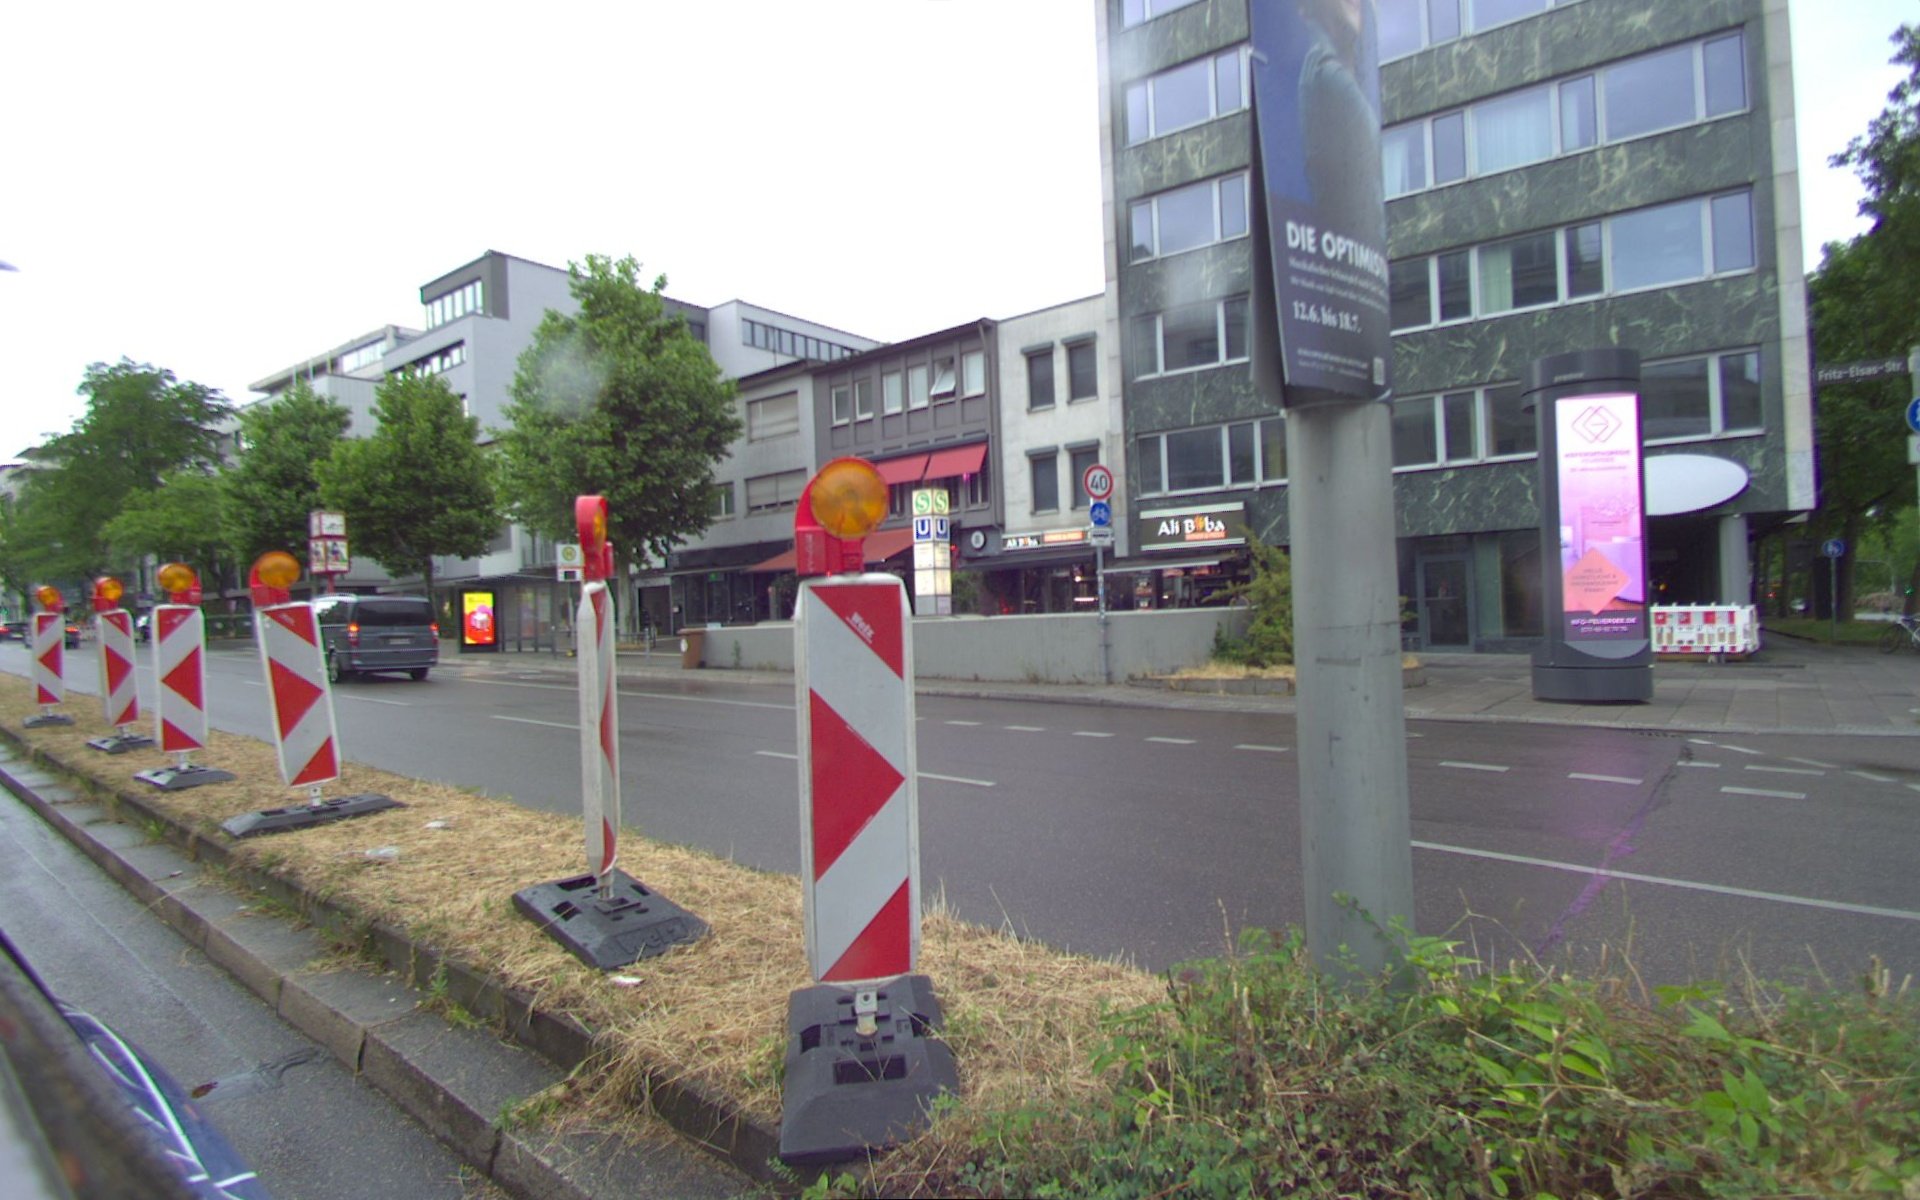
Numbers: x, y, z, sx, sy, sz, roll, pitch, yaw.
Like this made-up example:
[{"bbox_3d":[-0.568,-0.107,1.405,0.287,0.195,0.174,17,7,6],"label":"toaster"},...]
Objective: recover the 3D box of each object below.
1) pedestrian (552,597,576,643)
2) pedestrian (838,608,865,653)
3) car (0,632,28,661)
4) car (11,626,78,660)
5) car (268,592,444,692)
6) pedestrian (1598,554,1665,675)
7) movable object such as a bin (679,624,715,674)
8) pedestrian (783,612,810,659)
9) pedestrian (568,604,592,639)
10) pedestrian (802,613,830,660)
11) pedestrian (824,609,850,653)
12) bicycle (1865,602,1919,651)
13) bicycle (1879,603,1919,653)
[{"bbox_3d":[-17.847,0.888,45.633,0.764,2.029,0.768,-1,0,-41],"label":"pedestrian"},{"bbox_3d":[-3.755,1.037,35.012,0.611,1.540,0.660,-2,-1,44],"label":"pedestrian"},{"bbox_3d":[-62.185,3.027,65.966,4.211,1.442,1.670,-10,-7,41],"label":"car"},{"bbox_3d":[-43.939,2.050,48.541,4.284,1.522,1.671,-2,-1,38],"label":"car"},{"bbox_3d":[-13.782,0.837,22.957,4.962,1.941,1.973,2,2,41],"label":"car"},{"bbox_3d":[11.506,0.245,17.344,0.588,2.029,0.730,0,-1,-29],"label":"pedestrian"},{"bbox_3d":[-6.101,1.126,23.446,0.660,1.109,0.501,-1,0,39],"label":"movable object such as a bin"},{"bbox_3d":[-5.550,1.199,34.384,0.611,1.540,0.660,-2,-1,44],"label":"pedestrian"},{"bbox_3d":[-17.376,0.980,46.286,0.764,1.577,0.768,-1,0,-41],"label":"pedestrian"},{"bbox_3d":[-4.791,1.198,33.608,0.611,1.540,0.660,-2,-1,44],"label":"pedestrian"},{"bbox_3d":[-4.315,1.084,35.541,0.611,1.540,0.660,-2,-1,44],"label":"pedestrian"},{"bbox_3d":[21.263,0.587,22.385,1.780,1.060,0.579,-1,-1,37],"label":"bicycle"},{"bbox_3d":[20.768,0.592,21.477,1.780,1.060,0.579,-1,-1,37],"label":"bicycle"}]
